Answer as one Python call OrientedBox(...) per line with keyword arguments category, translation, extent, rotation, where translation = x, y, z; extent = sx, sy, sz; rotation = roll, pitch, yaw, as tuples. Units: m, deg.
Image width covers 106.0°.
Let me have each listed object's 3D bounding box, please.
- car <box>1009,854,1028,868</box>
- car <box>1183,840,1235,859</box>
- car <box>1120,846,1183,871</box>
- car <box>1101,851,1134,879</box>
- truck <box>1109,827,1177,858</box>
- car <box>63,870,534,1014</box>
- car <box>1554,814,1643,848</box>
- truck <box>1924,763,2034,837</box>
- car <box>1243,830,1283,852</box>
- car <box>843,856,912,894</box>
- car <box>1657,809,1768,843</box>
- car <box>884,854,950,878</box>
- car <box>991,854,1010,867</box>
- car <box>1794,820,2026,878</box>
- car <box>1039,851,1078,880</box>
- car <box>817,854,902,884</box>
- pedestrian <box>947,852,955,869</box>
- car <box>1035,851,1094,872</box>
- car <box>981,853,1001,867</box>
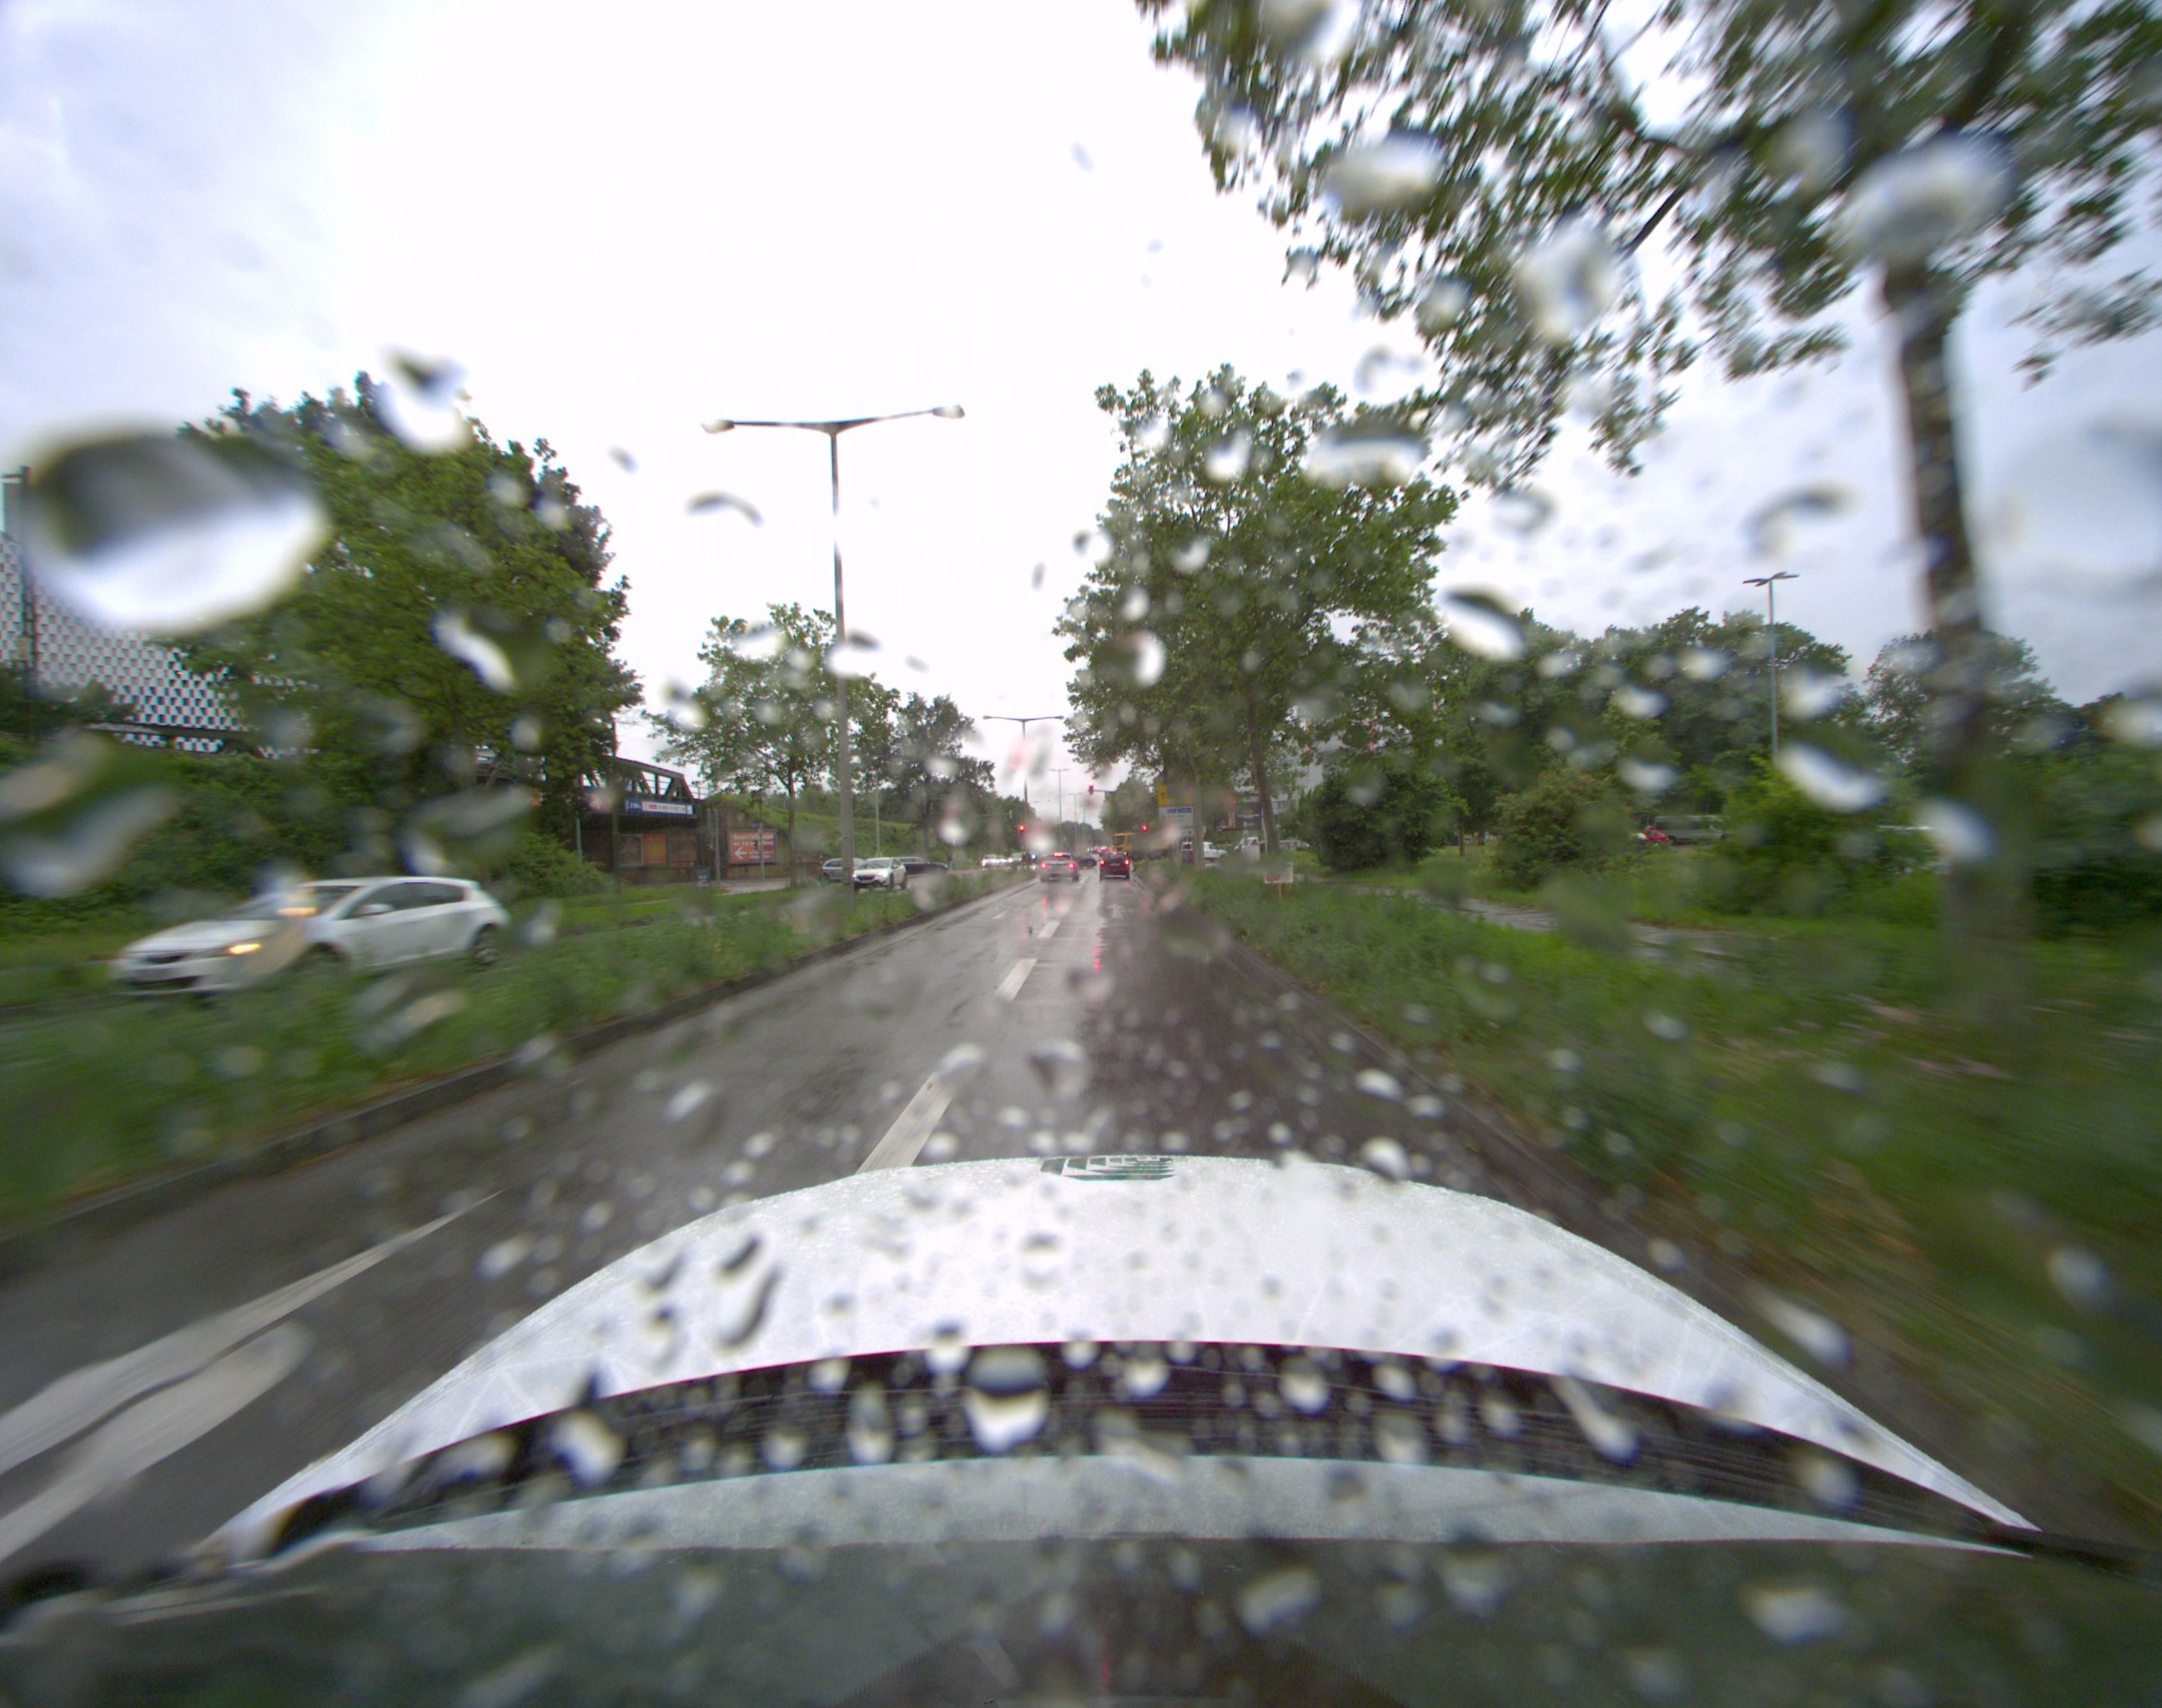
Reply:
OrientedBox(category="car", translation=(-7.218, 0.760, 94.604), extent=(1.706, 1.530, 4.002), rotation=(-2, 0, 2))
OrientedBox(category="car", translation=(11.373, -0.406, 72.354), extent=(4.397, 1.537, 1.786), rotation=(-2, 0, -27))
OrientedBox(category="car", translation=(5.110, 0.300, 58.846), extent=(4.409, 1.537, 1.782), rotation=(-5, 3, -38))
OrientedBox(category="car", translation=(2.046, 0.607, 46.261), extent=(1.789, 1.537, 4.389), rotation=(0, 0, 2))
OrientedBox(category="truck", translation=(6.589, -1.271, 86.293), extent=(7.079, 3.054, 2.618), rotation=(-2, 0, -35))
OrientedBox(category="car", translation=(-10.199, 1.019, 11.308), extent=(1.924, 1.445, 4.659), rotation=(-1, 0, 2))
OrientedBox(category="car", translation=(35.932, -1.544, 56.644), extent=(1.815, 2.153, 4.860), rotation=(-1, 0, -39))
OrientedBox(category="truck", translation=(51.495, -2.987, 46.634), extent=(8.321, 3.810, 2.972), rotation=(-1, 0, -34))
OrientedBox(category="car", translation=(20.453, -1.439, 91.472), extent=(4.404, 2.190, 1.783), rotation=(-5, 1, -33))
OrientedBox(category="car", translation=(-9.278, 0.919, 37.538), extent=(1.849, 1.589, 4.521), rotation=(-2, 0, 2))
OrientedBox(category="car", translation=(51.627, -2.249, 66.772), extent=(2.338, 2.434, 6.752), rotation=(-2, 0, -34))
OrientedBox(category="car", translation=(-12.012, 0.858, 59.724), extent=(4.397, 1.537, 1.786), rotation=(-2, 0, -27))
OrientedBox(category="car", translation=(-9.908, 0.749, 100.007), extent=(1.706, 1.530, 4.002), rotation=(-2, 0, 2))
OrientedBox(category="car", translation=(20.516, -0.115, 20.268), extent=(3.977, 1.365, 1.866), rotation=(0, -1, -3))
OrientedBox(category="car", translation=(-1.118, 0.565, 42.384), extent=(1.683, 1.433, 4.576), rotation=(-1, 0, 2))
OrientedBox(category="car", translation=(-12.959, 0.859, 47.702), extent=(4.467, 1.589, 1.872), rotation=(-2, 0, 18))
OrientedBox(category="pedestrian", translation=(-13.471, 0.652, 84.395), extent=(0.528, 1.786, 0.676), rotation=(-1, -1, 19))
OrientedBox(category="car", translation=(-1.320, 0.594, 65.831), extent=(4.397, 1.537, 1.786), rotation=(-1, 0, -27))
OrientedBox(category="car", translation=(-10.284, 0.690, 93.473), extent=(1.706, 1.530, 4.002), rotation=(-2, 0, 2))
